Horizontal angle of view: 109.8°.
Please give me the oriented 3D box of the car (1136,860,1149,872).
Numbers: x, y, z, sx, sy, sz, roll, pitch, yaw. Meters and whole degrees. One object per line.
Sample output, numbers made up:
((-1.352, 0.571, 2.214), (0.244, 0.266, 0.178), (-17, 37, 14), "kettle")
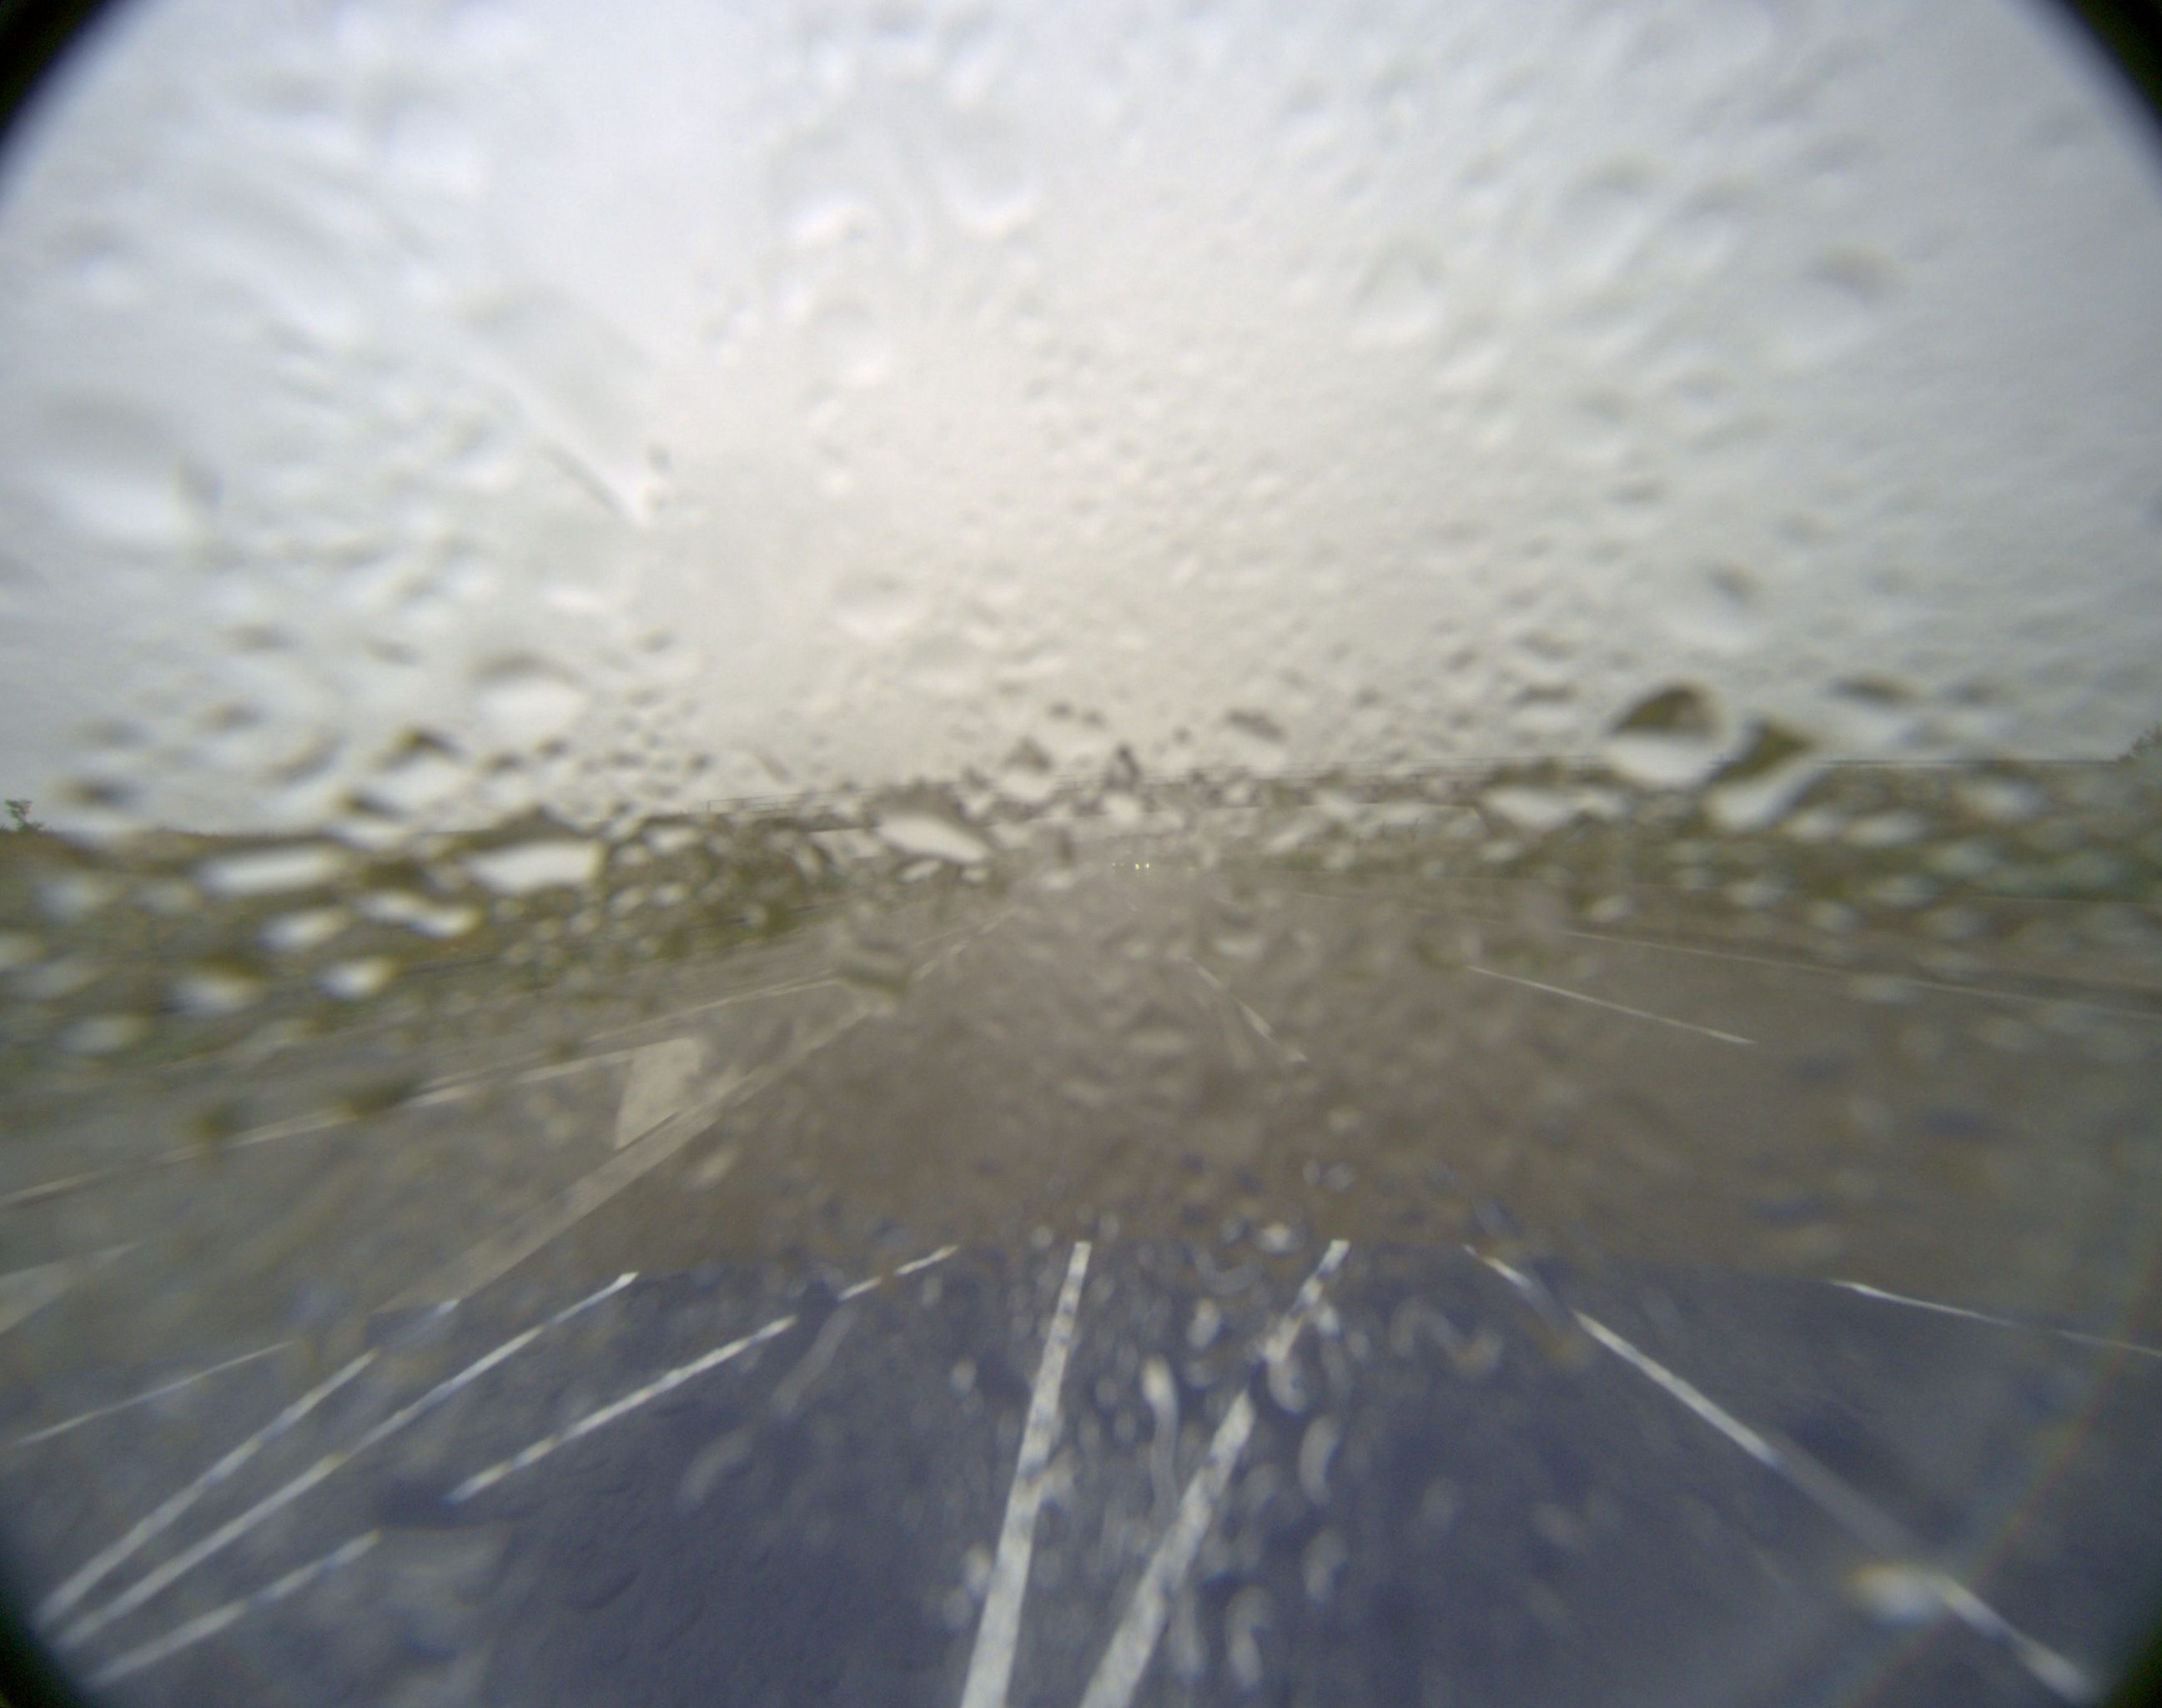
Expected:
((8.921, 1.716, 110.041), (1.700, 1.543, 3.734), (-3, 0, 2), "car")

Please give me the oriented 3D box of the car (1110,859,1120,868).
((5.838, 1.658, 131.423), (1.700, 1.543, 3.734), (-3, 0, 2), "car")
